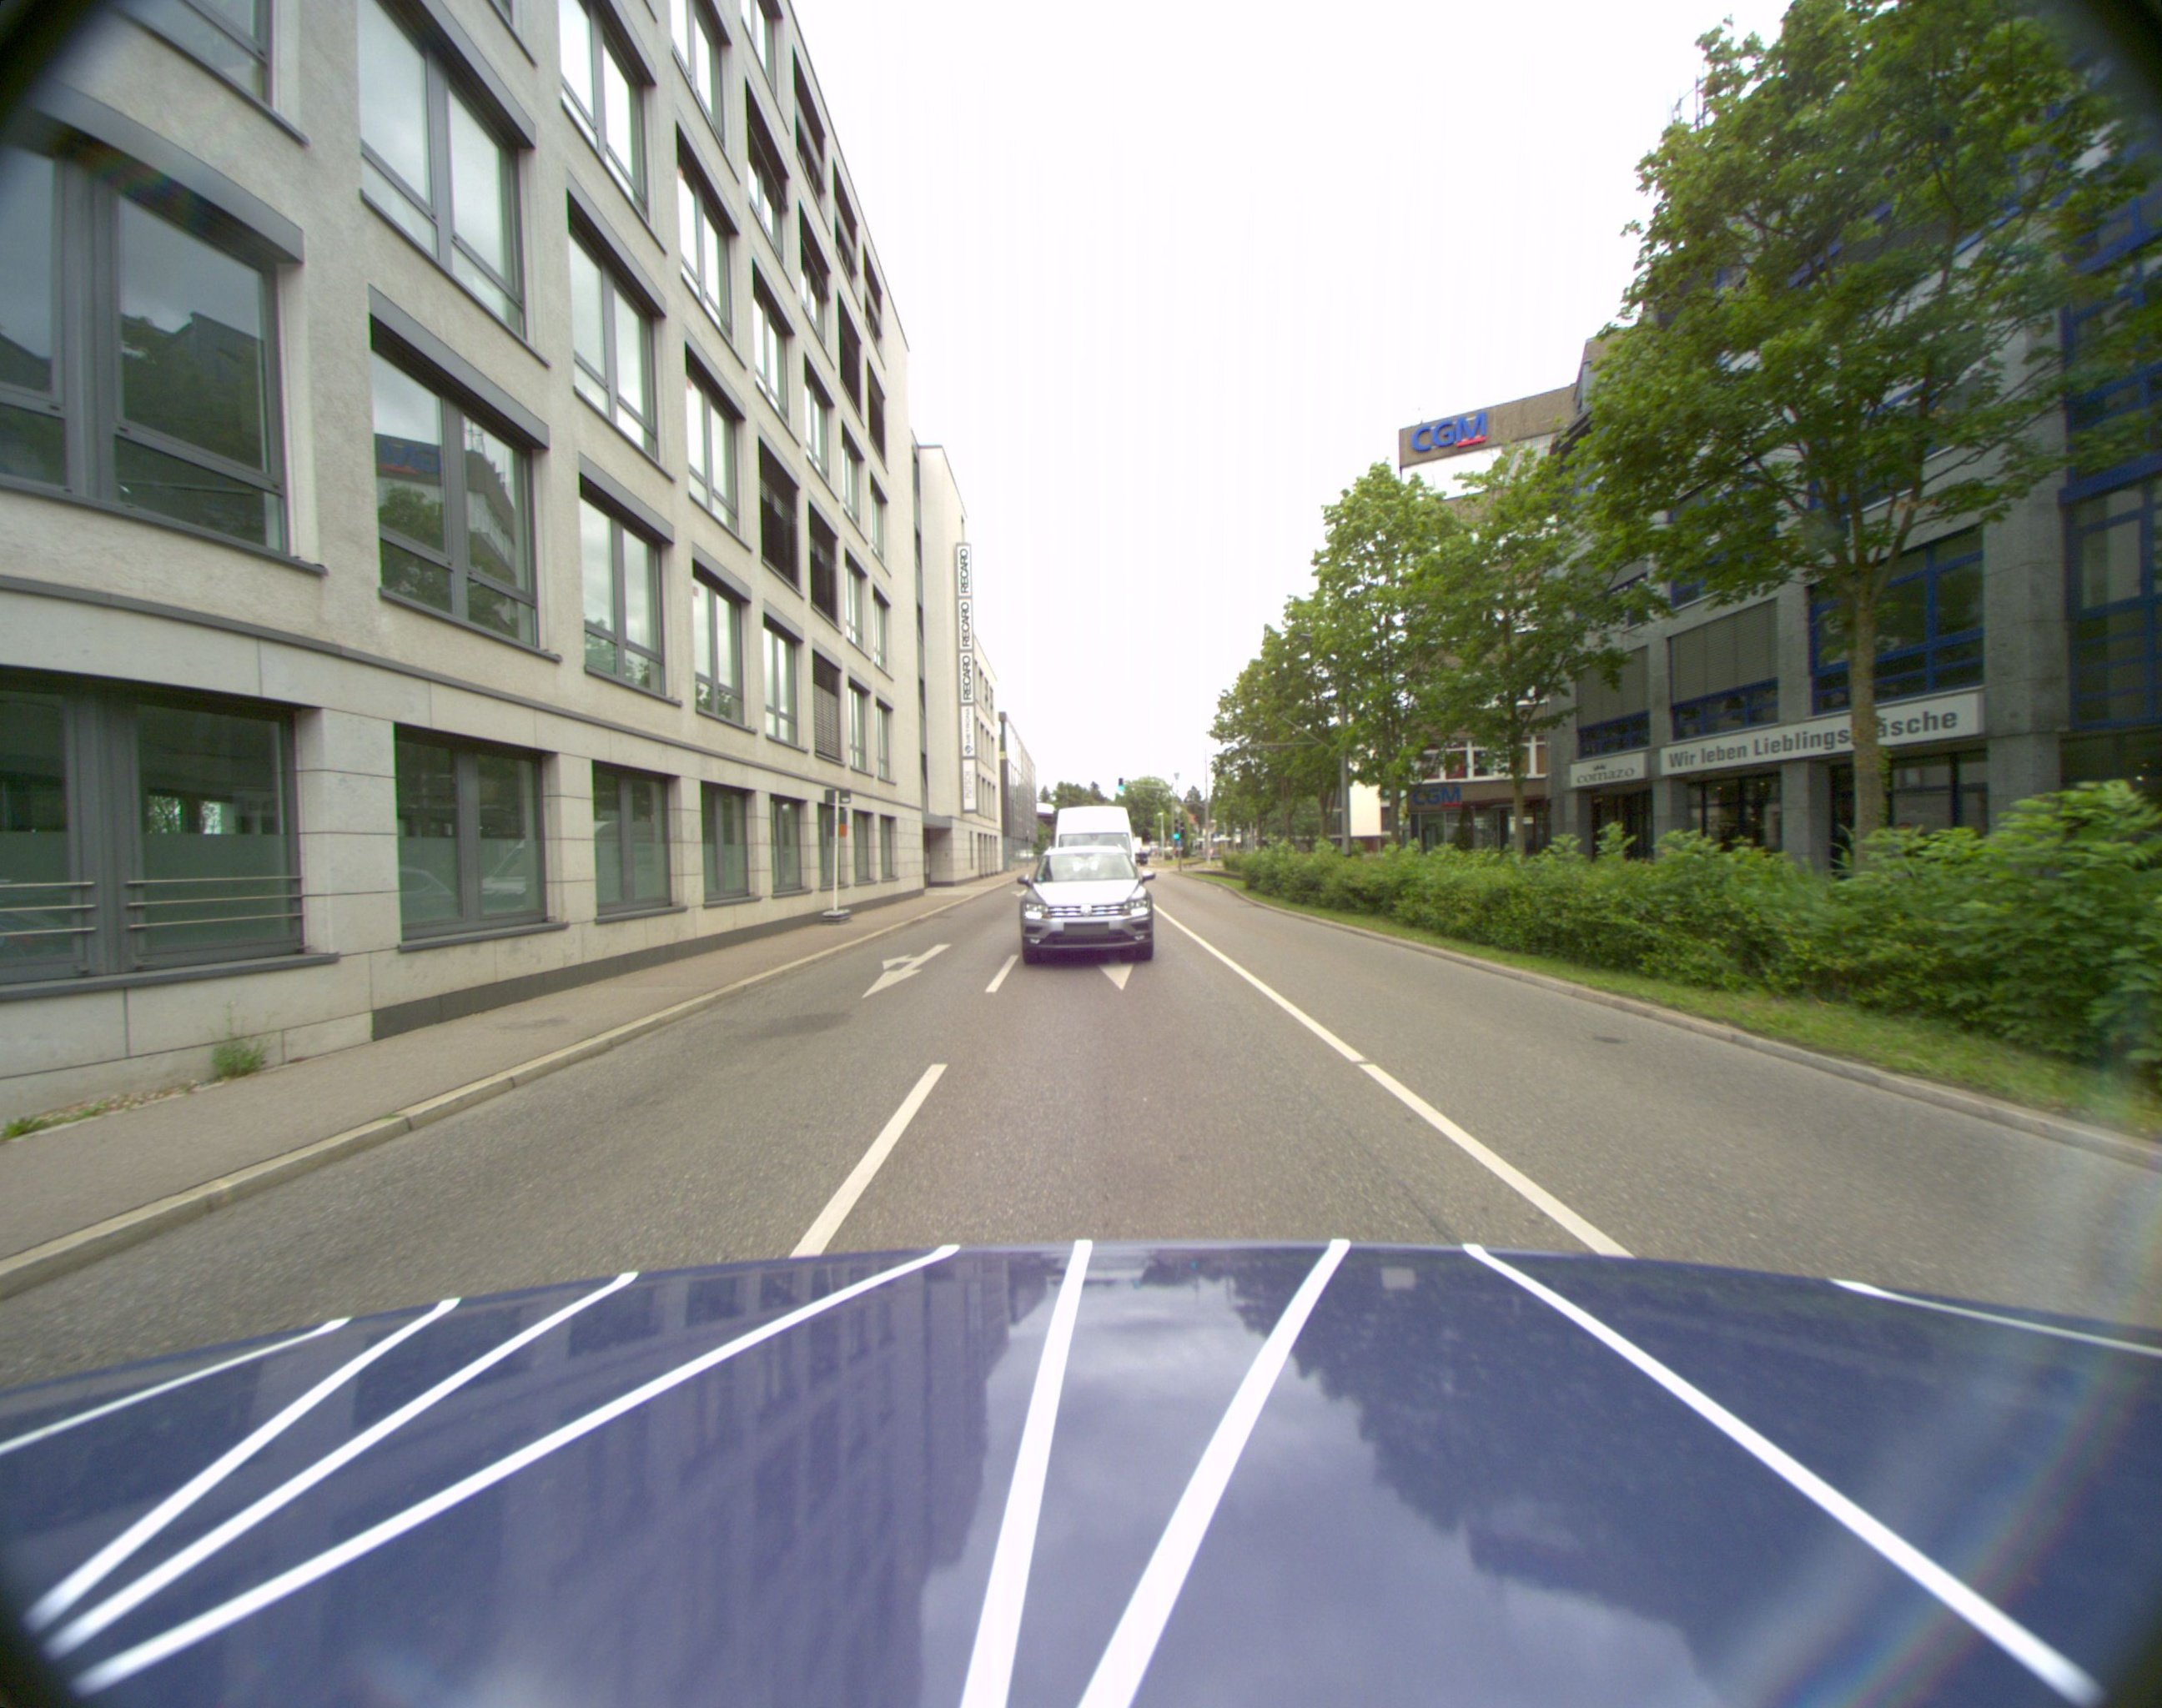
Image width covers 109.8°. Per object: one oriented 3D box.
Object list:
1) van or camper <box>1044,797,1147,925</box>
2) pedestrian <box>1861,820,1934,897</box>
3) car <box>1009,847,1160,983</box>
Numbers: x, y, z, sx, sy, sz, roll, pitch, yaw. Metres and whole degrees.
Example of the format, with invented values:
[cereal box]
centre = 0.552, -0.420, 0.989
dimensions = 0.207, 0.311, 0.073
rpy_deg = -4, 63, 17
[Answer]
[van or camper]
centre = 0.363, 0.137, 19.731
dimensions = 2.110, 2.674, 6.299
rpy_deg = -3, 0, 1
[pedestrian]
centre = 16.488, 0.086, 15.356
dimensions = 0.699, 1.474, 0.679
rpy_deg = -3, 1, 1
[car]
centre = 0.076, 0.759, 11.853
dimensions = 1.833, 1.636, 4.326
rpy_deg = -3, 0, 1
